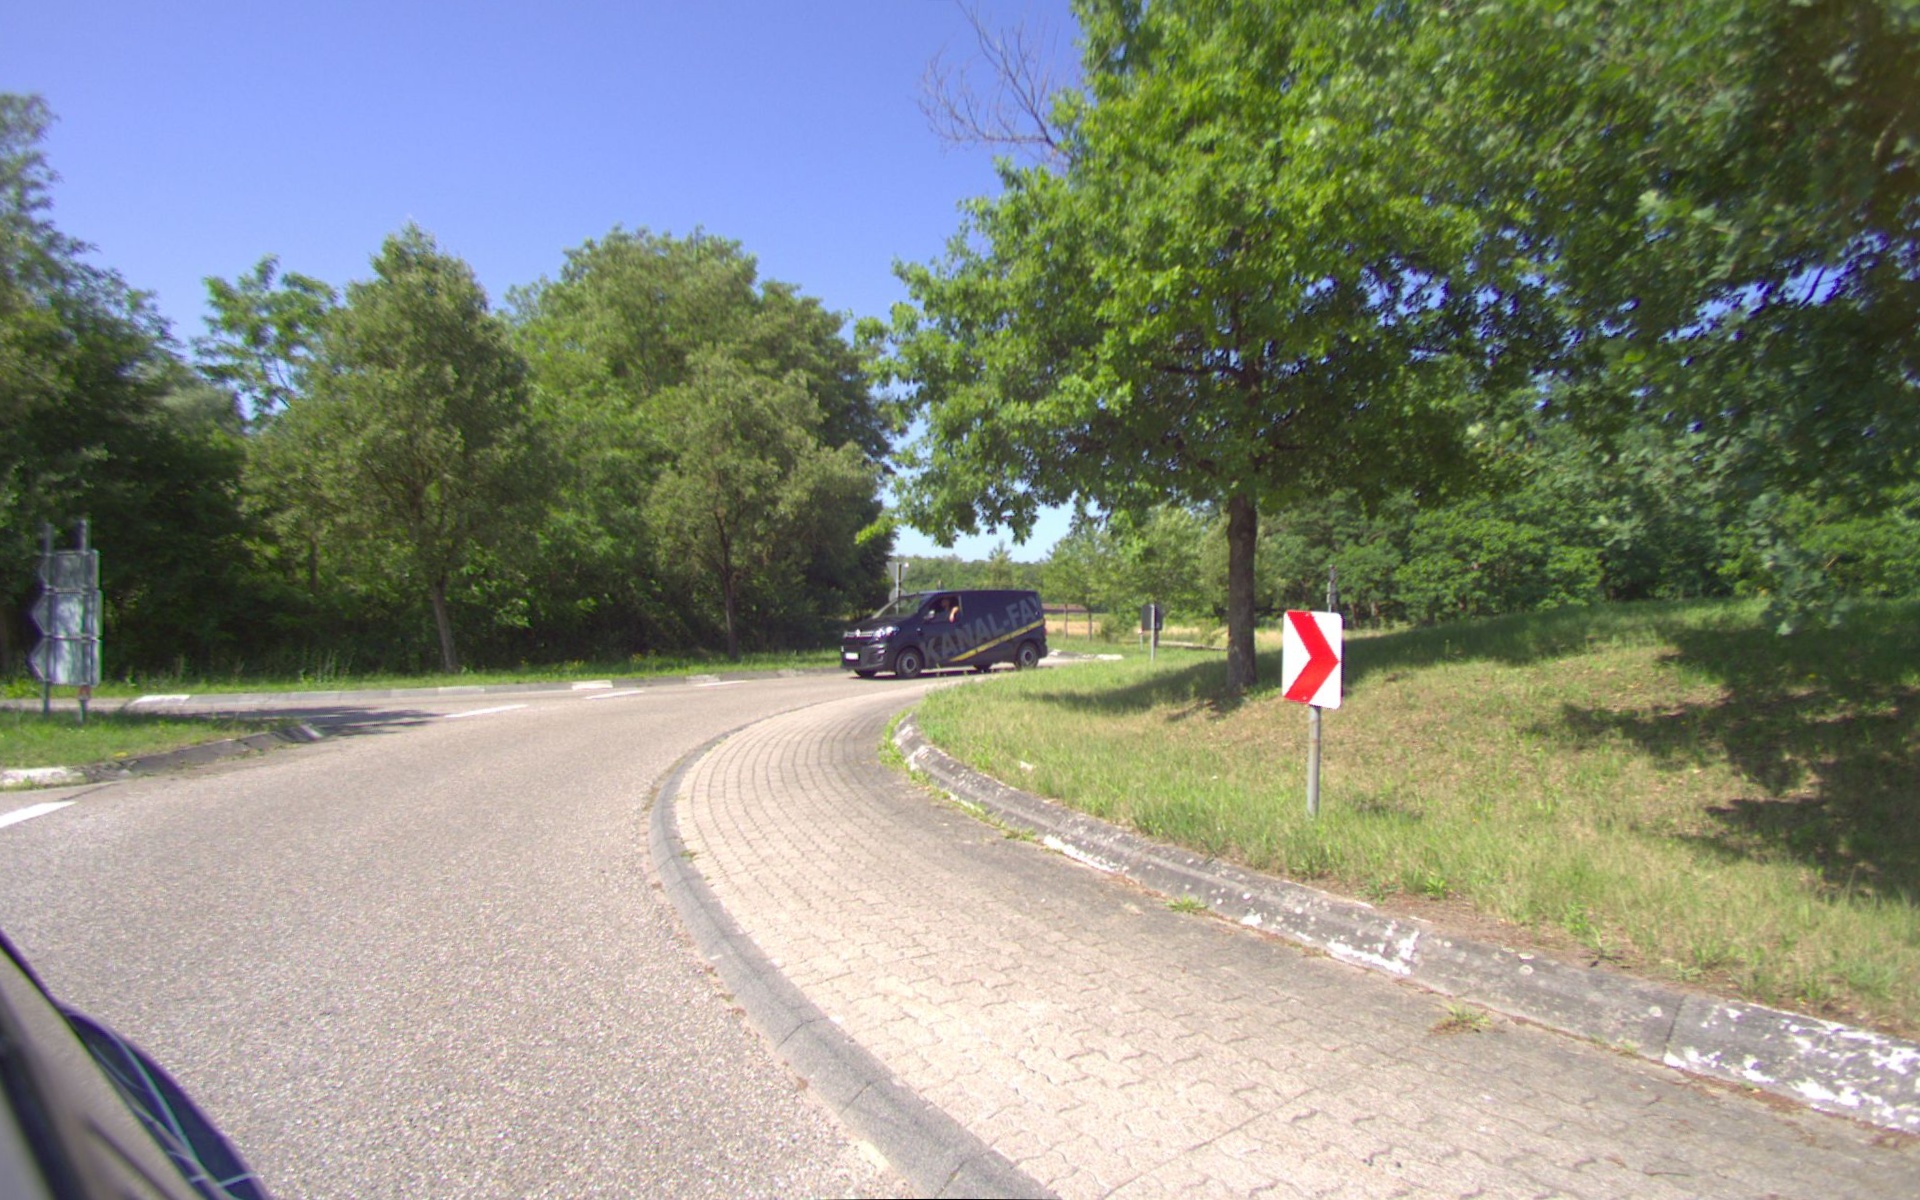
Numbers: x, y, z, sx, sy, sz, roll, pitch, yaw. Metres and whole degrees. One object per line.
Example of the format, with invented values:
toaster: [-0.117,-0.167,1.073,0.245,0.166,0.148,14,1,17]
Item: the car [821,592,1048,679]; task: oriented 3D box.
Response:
car: [-0.495,0.726,22.260,4.640,1.727,2.106,1,-1,-36]
